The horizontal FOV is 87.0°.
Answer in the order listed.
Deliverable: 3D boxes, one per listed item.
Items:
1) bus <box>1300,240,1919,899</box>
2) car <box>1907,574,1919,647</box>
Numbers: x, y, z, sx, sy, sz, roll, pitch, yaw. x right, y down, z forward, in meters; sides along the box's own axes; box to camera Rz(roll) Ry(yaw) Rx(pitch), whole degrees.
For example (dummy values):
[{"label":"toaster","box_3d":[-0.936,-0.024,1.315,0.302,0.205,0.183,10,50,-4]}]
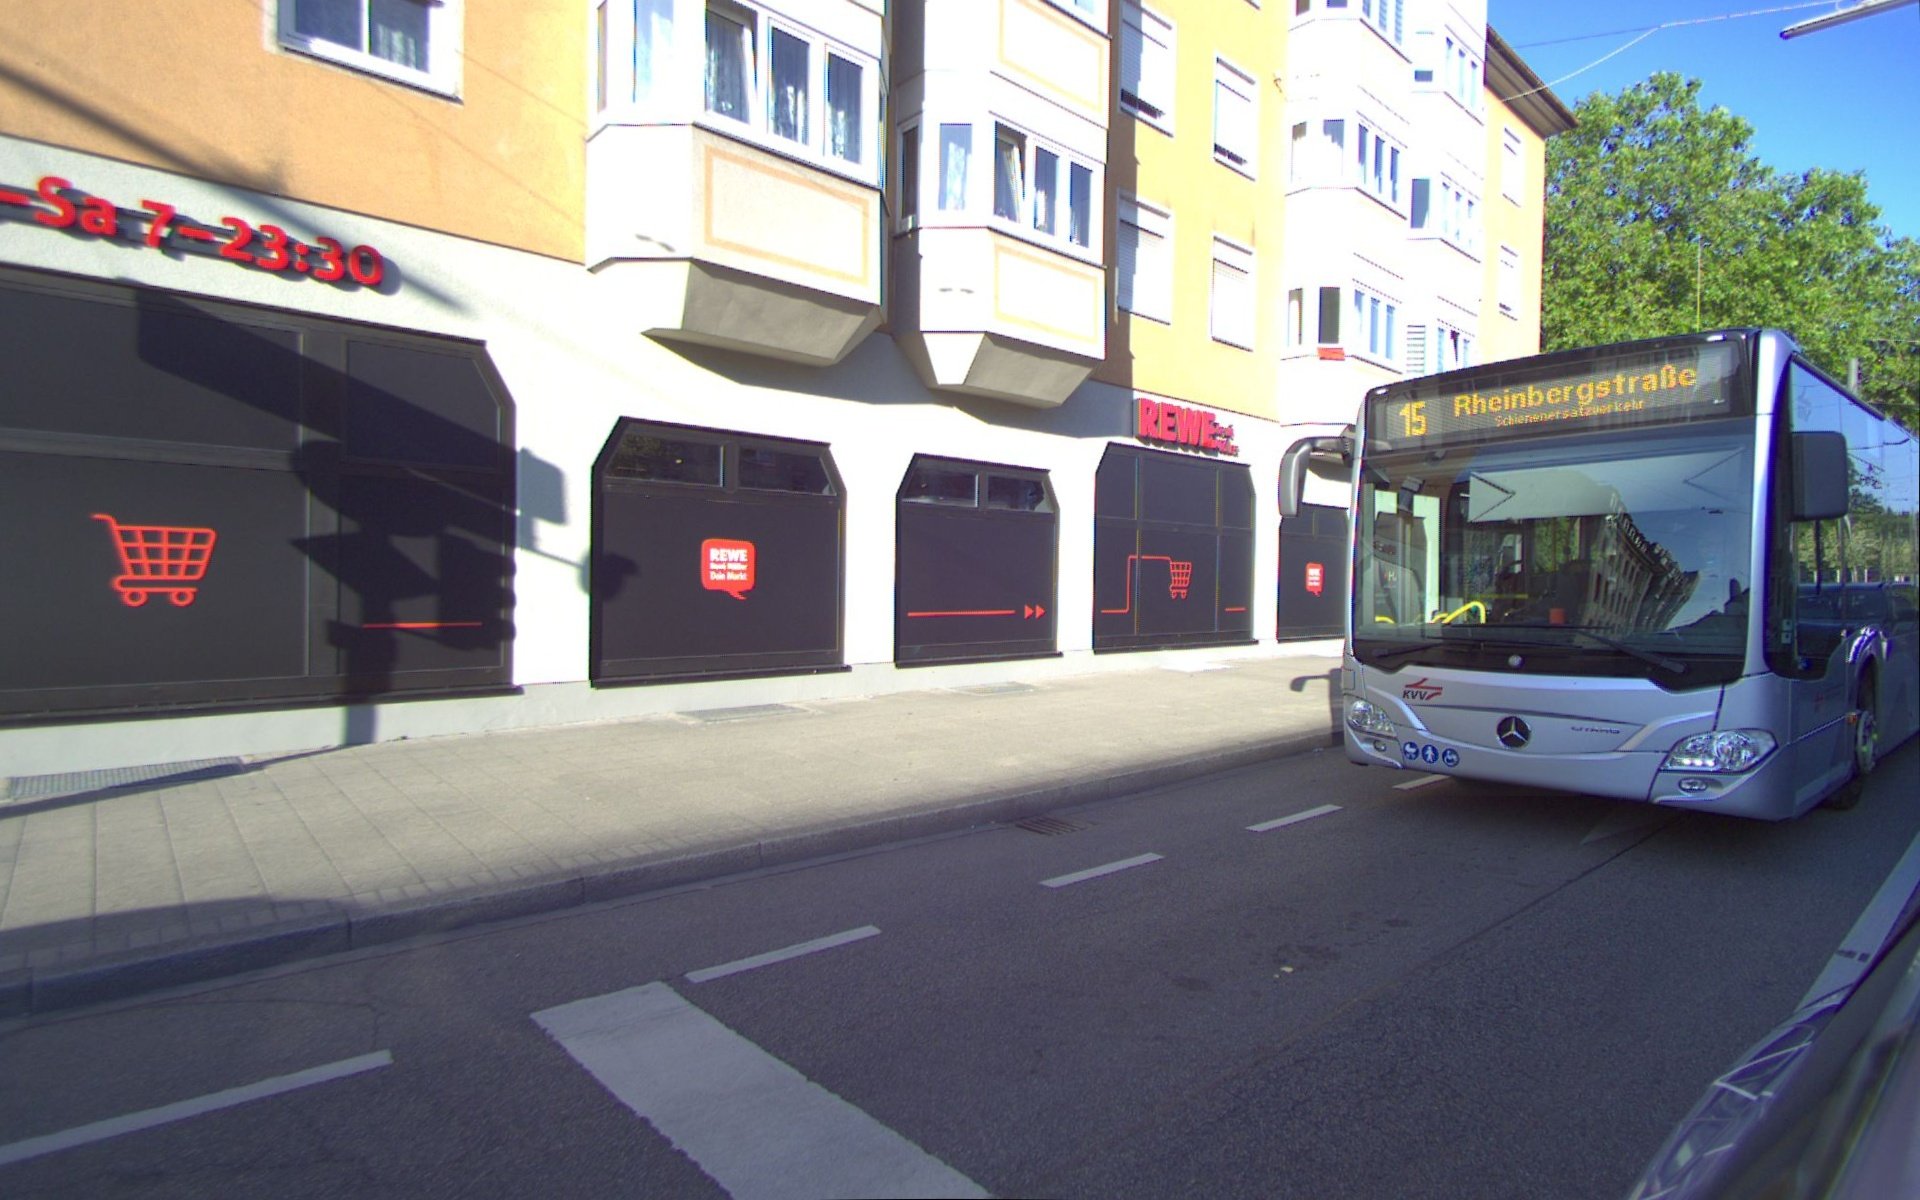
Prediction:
[{"label":"bus","box_3d":[9.874,-0.312,11.638,17.430,3.189,2.771,-1,2,-41]},{"label":"car","box_3d":[23.442,0.217,23.589,3.760,1.627,1.747,-2,2,-43]}]
